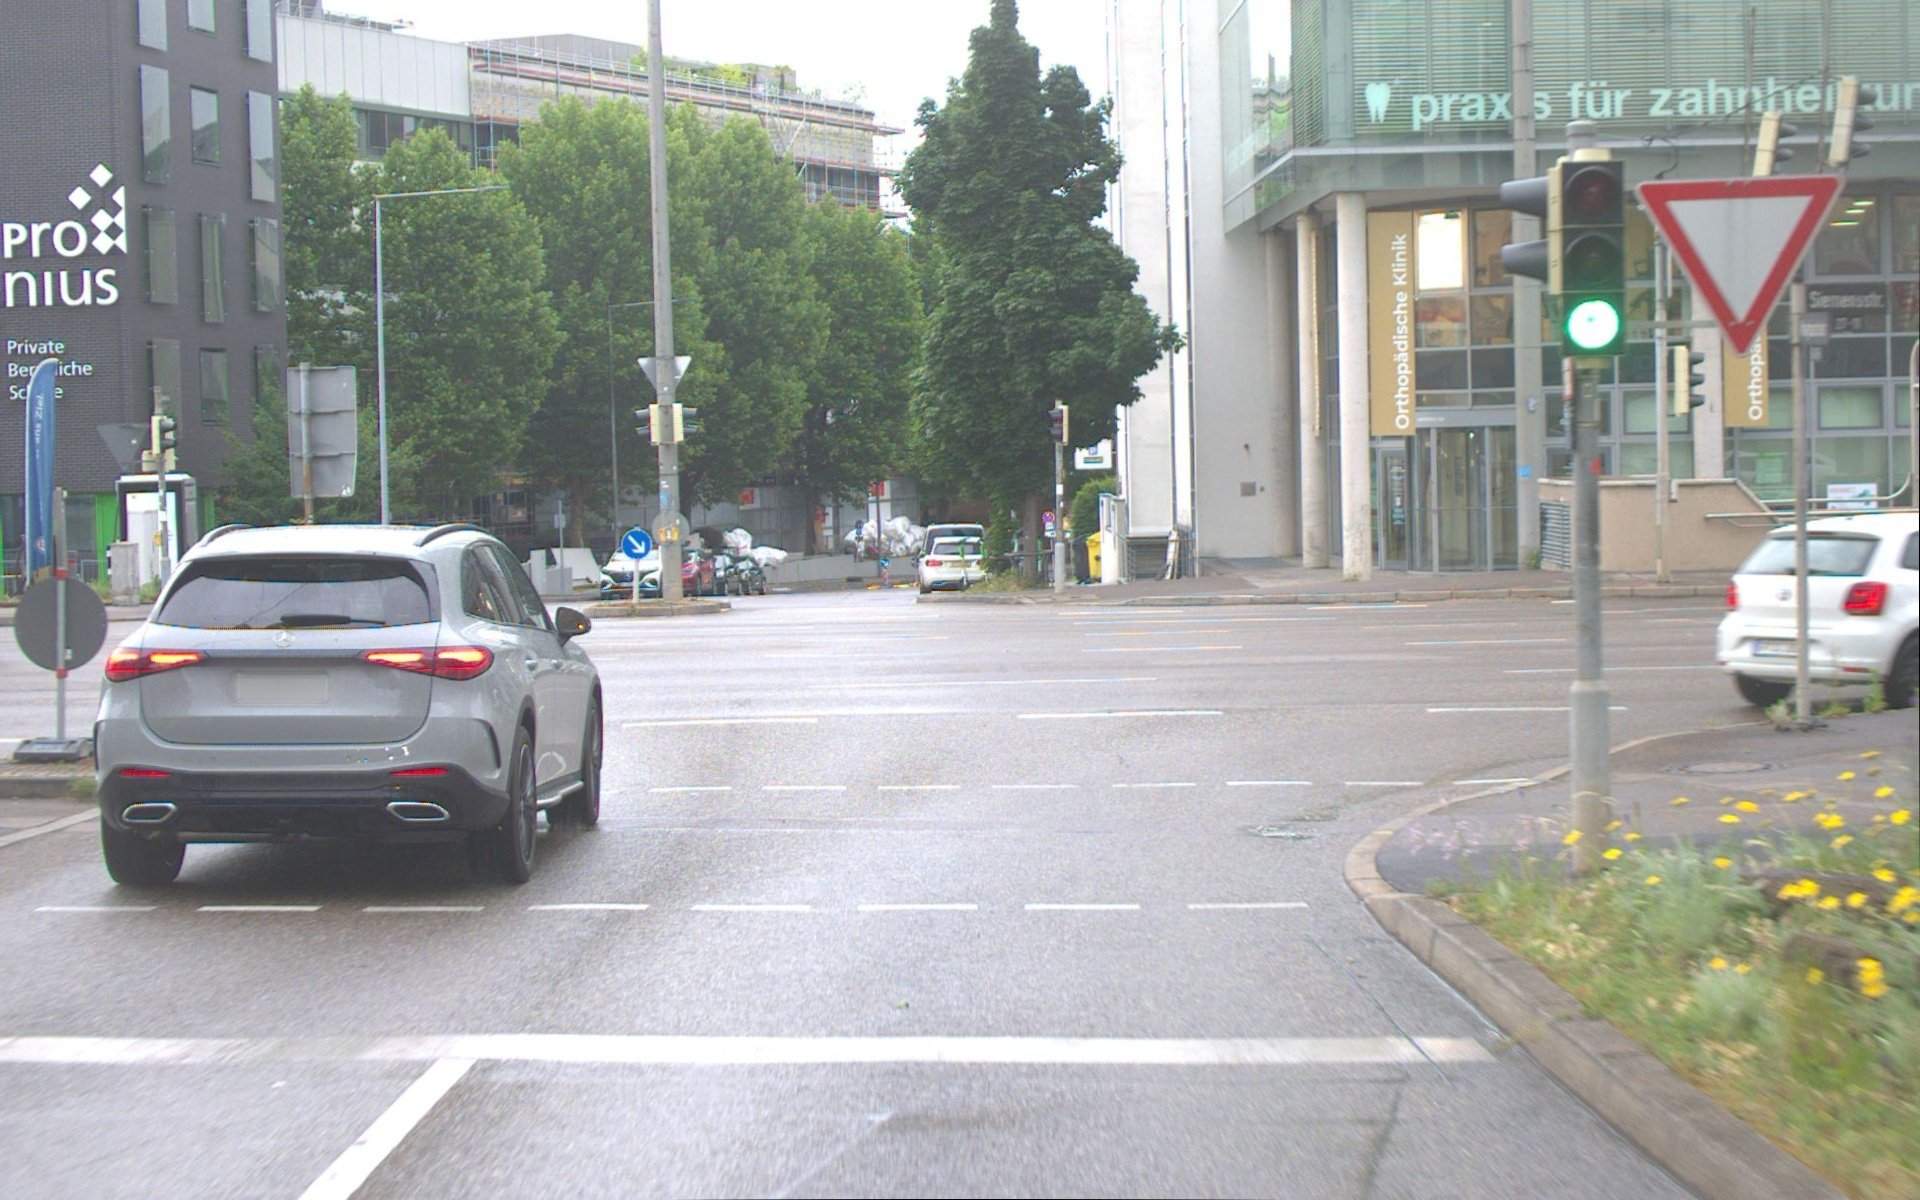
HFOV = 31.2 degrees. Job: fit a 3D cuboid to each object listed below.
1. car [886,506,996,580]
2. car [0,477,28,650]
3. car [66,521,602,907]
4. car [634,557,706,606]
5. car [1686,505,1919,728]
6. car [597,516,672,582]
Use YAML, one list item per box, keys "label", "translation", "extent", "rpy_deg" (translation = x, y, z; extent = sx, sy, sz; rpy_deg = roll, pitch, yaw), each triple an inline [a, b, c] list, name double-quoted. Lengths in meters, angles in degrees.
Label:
- label: "car"
  translation: [-0.482, -1.372, 82.921]
  extent: [1.993, 1.711, 4.001]
  rpy_deg: [1, 1, -10]
- label: "car"
  translation: [-11.825, -0.349, 35.960]
  extent: [4.126, 1.762, 1.854]
  rpy_deg: [0, 2, 38]
- label: "car"
  translation: [-2.881, 0.449, 16.733]
  extent: [1.908, 1.626, 4.211]
  rpy_deg: [1, 1, -1]
- label: "car"
  translation: [-9.598, -0.616, 113.910]
  extent: [1.679, 1.588, 3.856]
  rpy_deg: [1, 1, 6]
- label: "car"
  translation: [7.445, 0.050, 26.132]
  extent: [3.768, 1.468, 1.676]
  rpy_deg: [-3, 4, -36]
- label: "car"
  translation: [-10.236, -1.591, 108.322]
  extent: [1.993, 2.007, 4.000]
  rpy_deg: [1, 1, -1]
